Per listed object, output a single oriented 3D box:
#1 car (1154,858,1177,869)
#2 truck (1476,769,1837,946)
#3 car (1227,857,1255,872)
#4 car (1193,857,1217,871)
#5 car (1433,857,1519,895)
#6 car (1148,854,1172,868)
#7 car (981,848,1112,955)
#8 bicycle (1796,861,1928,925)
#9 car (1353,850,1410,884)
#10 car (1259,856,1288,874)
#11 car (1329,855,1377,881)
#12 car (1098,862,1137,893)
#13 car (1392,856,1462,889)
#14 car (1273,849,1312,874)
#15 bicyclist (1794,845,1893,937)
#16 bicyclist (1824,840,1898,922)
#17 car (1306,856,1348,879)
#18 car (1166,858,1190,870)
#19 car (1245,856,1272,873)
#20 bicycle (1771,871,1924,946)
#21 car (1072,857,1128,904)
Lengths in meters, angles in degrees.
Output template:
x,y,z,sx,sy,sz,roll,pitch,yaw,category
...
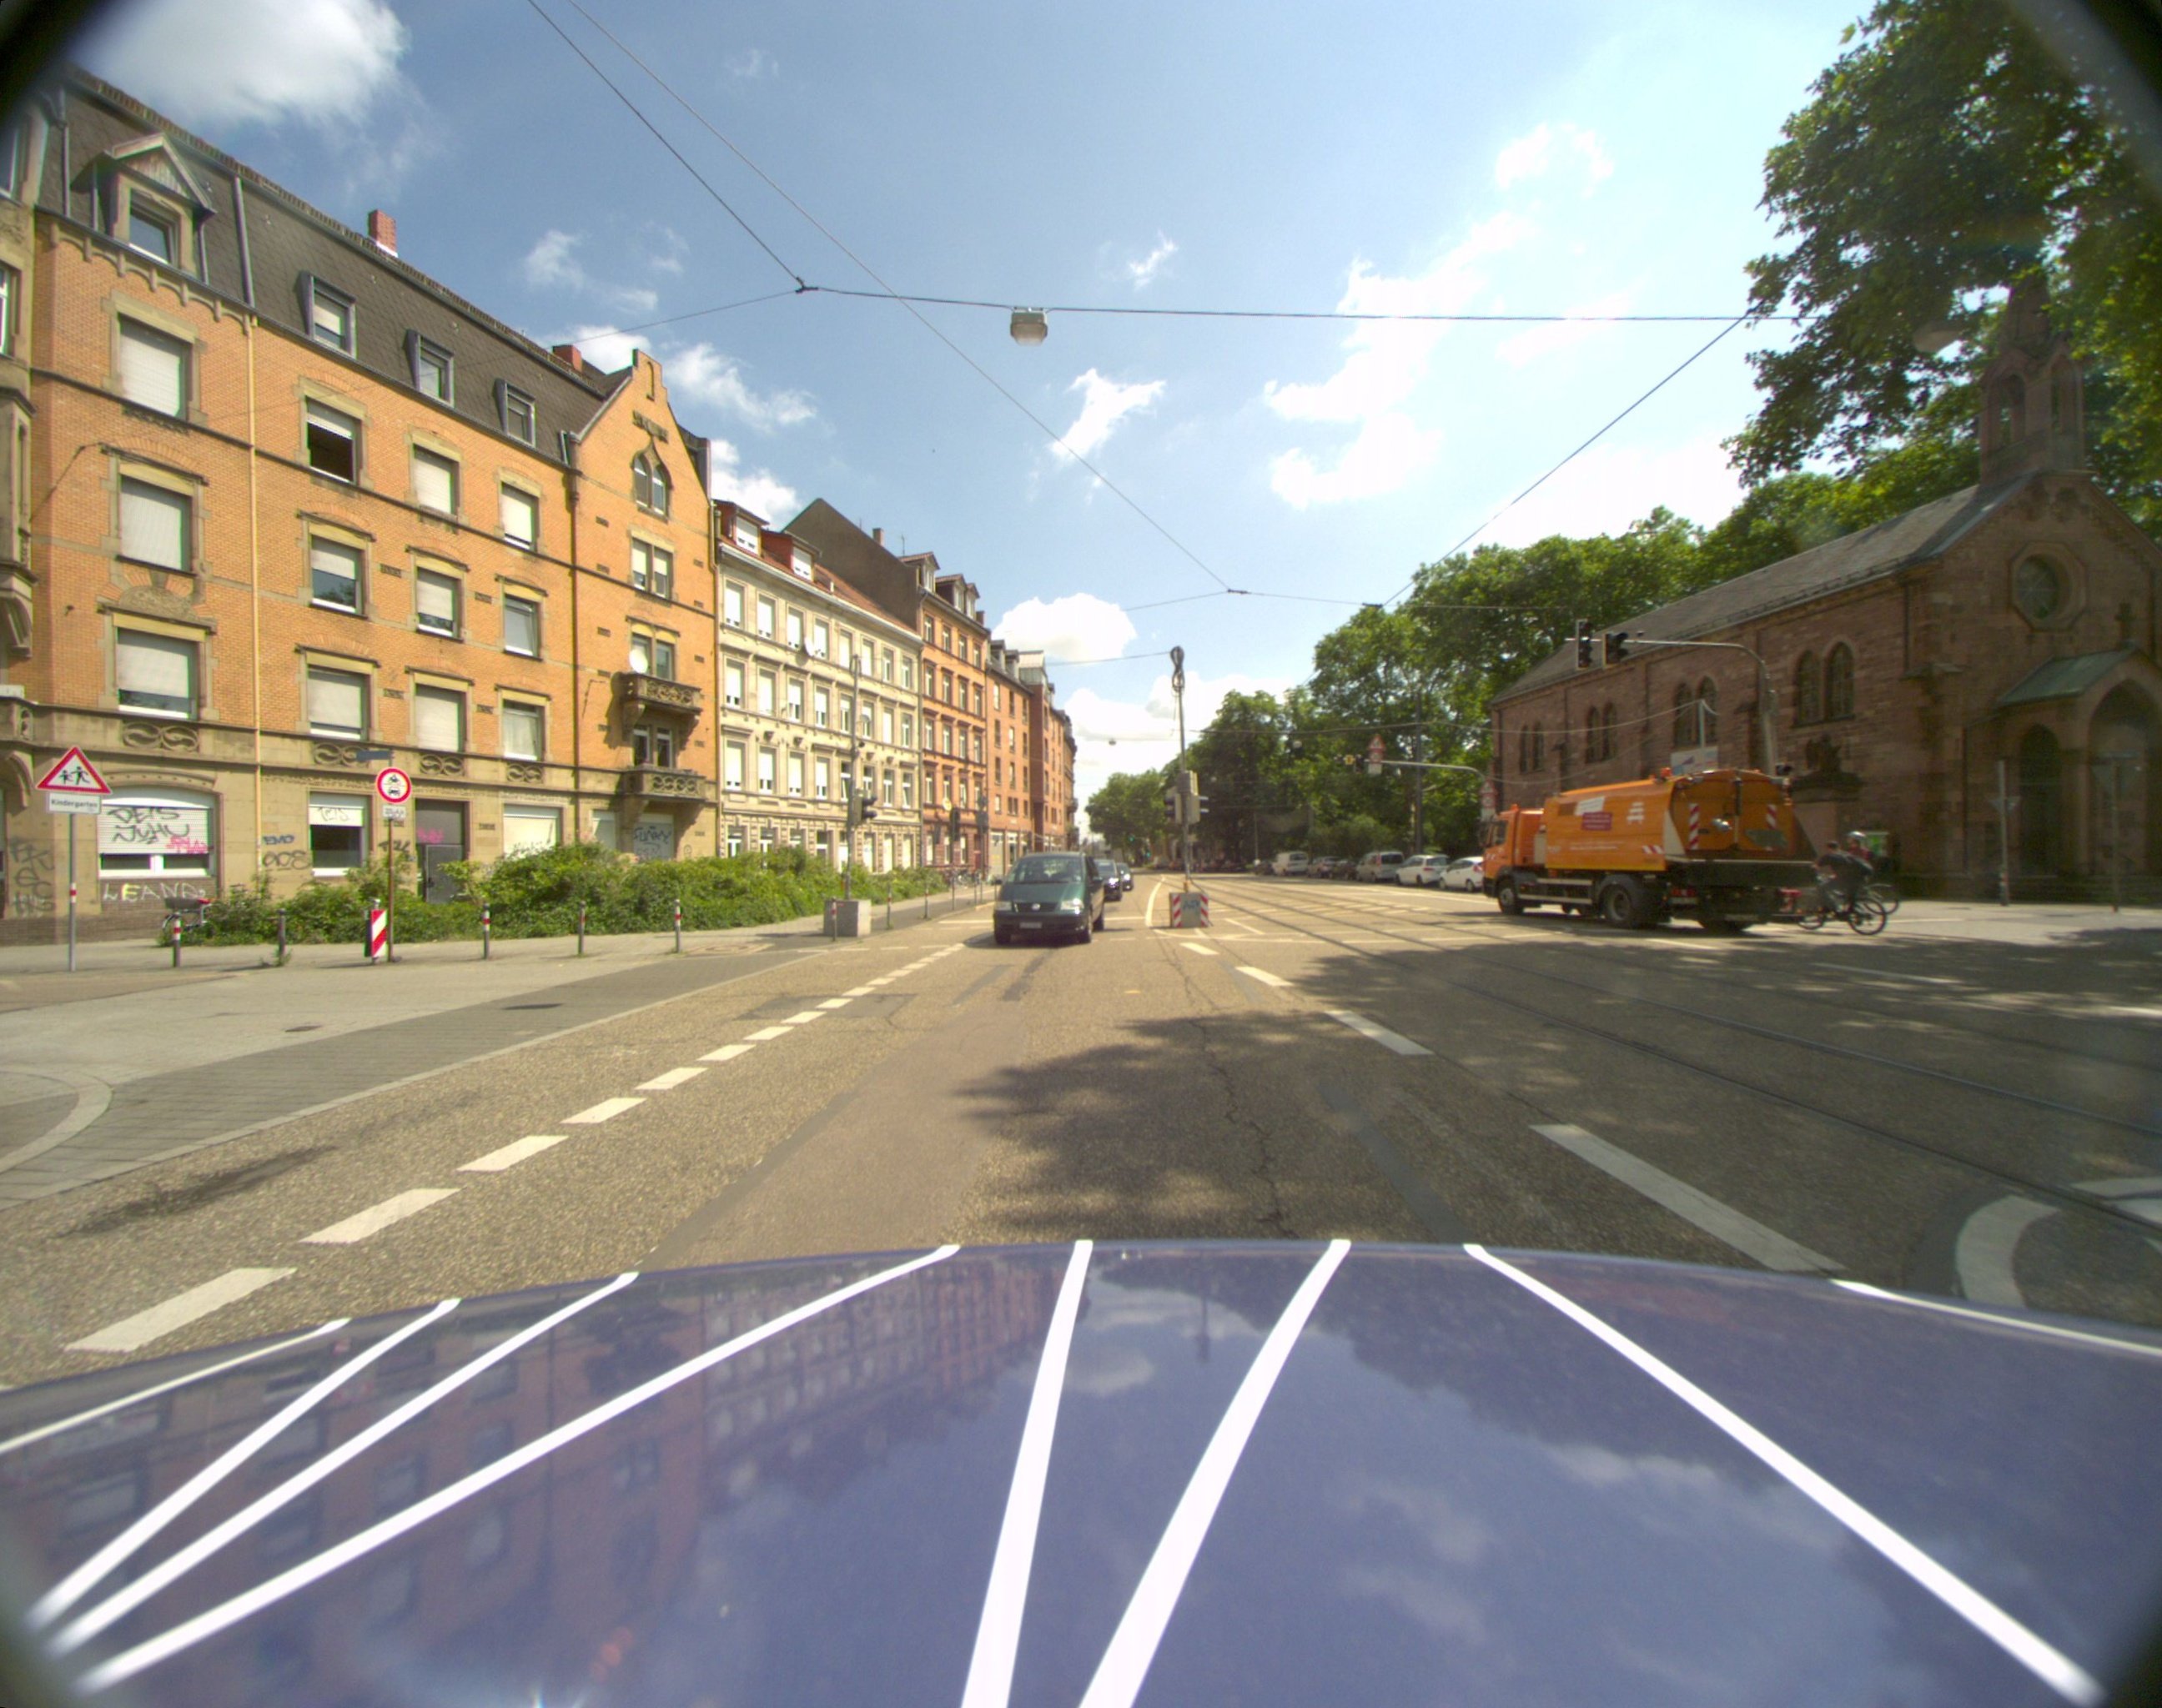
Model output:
x,y,z,sx,sy,sz,roll,pitch,yaw,category
12.094,1.349,108.566,1.763,1.488,3.994,-2,0,-17,car
11.979,0.046,16.960,2.645,3.088,7.222,1,0,1,truck
17.144,1.129,81.696,1.762,1.488,3.998,-2,0,-5,car
15.153,1.195,92.771,1.762,1.488,3.997,-2,0,-8,car
17.226,0.919,33.338,1.761,1.488,4.000,-2,0,2,car
12.253,1.070,118.645,1.765,2.172,3.991,-3,1,-28,car
-0.507,0.806,15.571,1.822,1.746,5.033,-2,1,7,car
17.484,0.858,17.043,2.086,1.282,0.672,-3,1,6,bicycle
17.390,0.720,44.158,1.761,1.825,4.000,-2,0,2,car
17.463,1.012,69.099,1.761,1.488,4.000,-2,0,2,car
17.550,0.870,49.176,1.761,1.488,4.000,-2,0,2,car
1.951,1.210,39.932,1.914,1.386,4.314,-2,1,3,car
17.285,0.891,38.144,1.761,1.488,4.000,-2,0,2,car
17.585,0.610,63.295,1.993,1.992,4.084,-2,0,-1,car
14.545,0.674,14.524,0.703,1.676,1.176,-1,0,0,bicyclist
17.477,0.595,17.037,0.884,1.774,0.662,-3,1,6,bicyclist
17.555,0.912,54.427,1.761,1.488,4.000,-2,0,2,car
13.266,1.361,104.198,1.763,1.488,3.995,-2,0,-15,car
17.657,1.042,75.648,1.761,1.488,4.000,-2,0,2,car
14.550,0.989,14.532,0.706,1.282,2.218,-1,0,0,bicycle
0.818,0.996,29.873,1.874,1.610,4.190,-2,0,5,car
